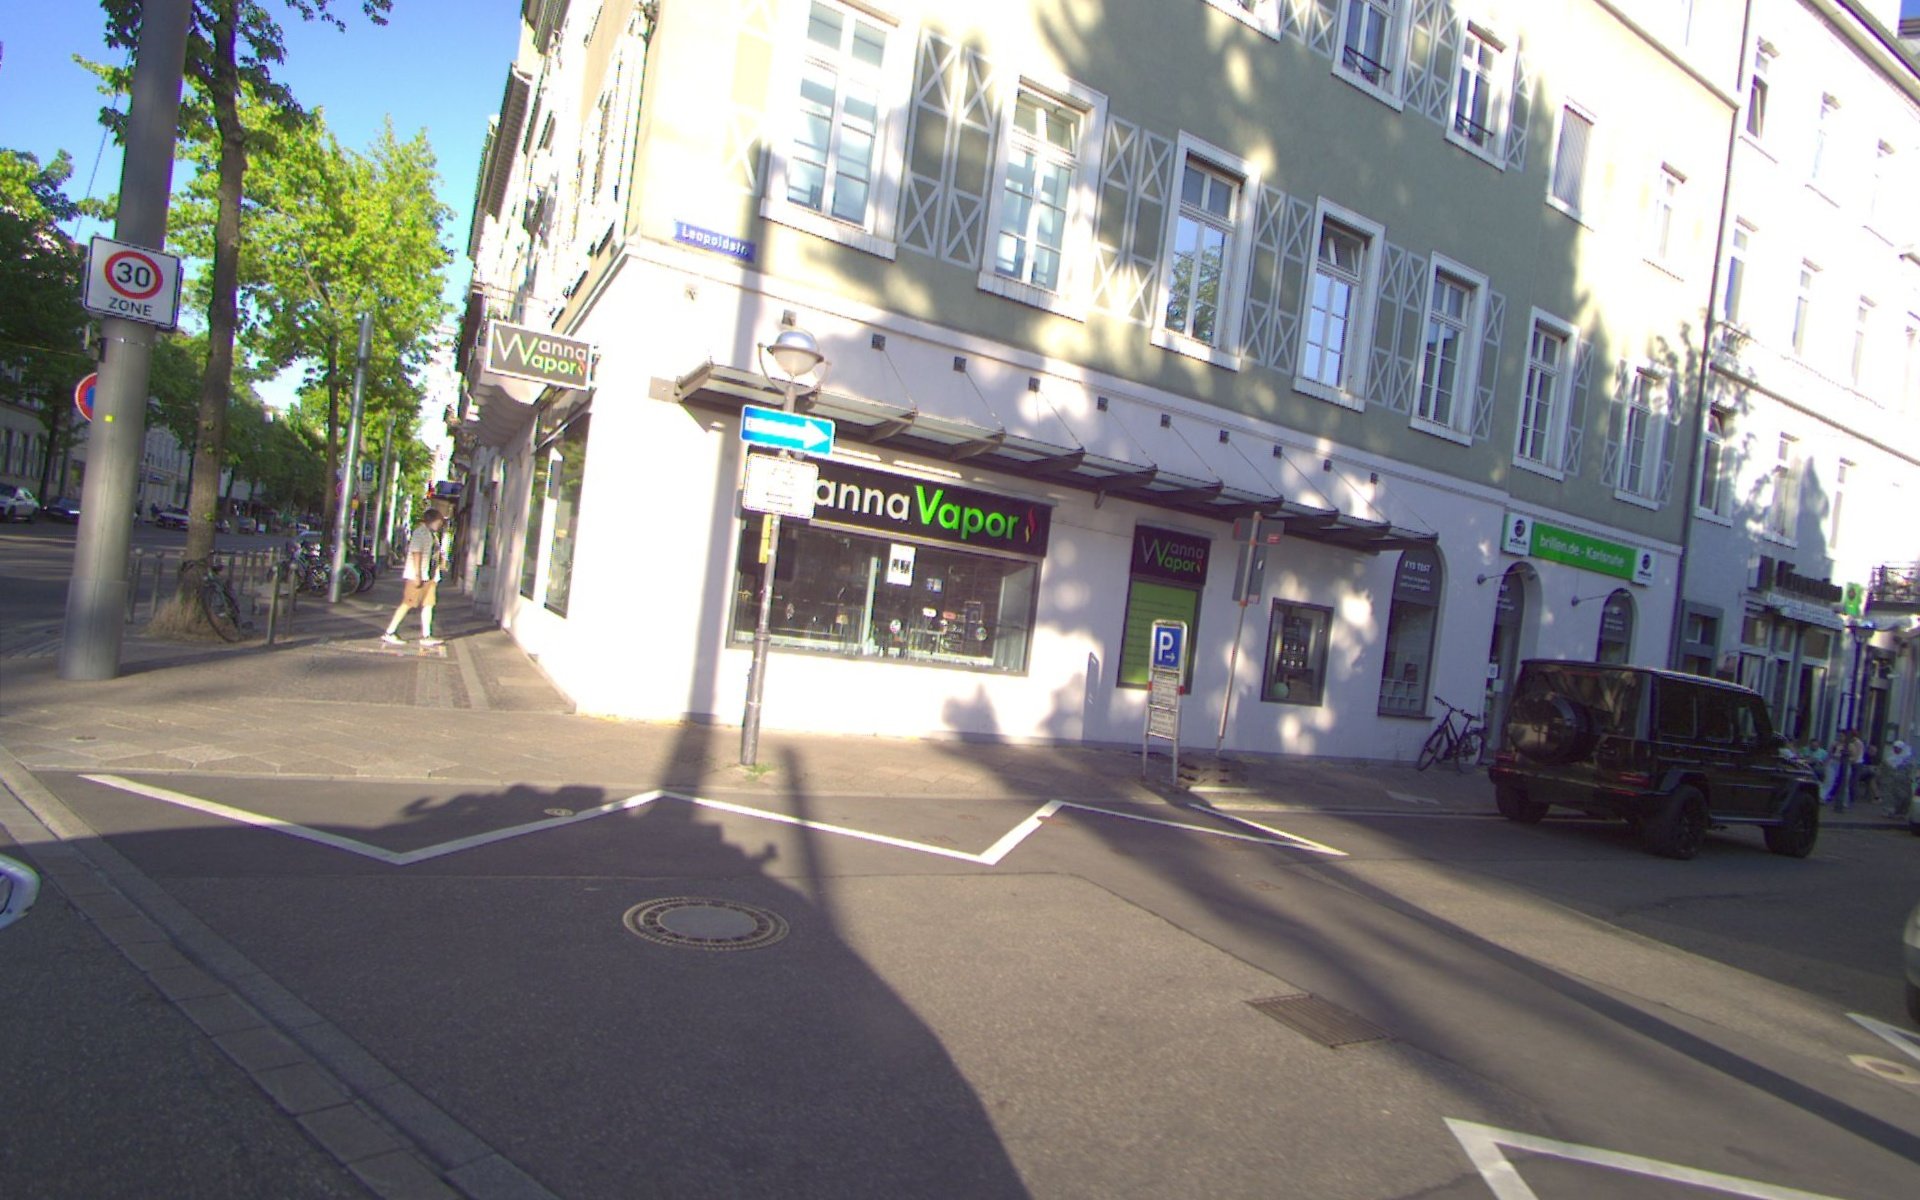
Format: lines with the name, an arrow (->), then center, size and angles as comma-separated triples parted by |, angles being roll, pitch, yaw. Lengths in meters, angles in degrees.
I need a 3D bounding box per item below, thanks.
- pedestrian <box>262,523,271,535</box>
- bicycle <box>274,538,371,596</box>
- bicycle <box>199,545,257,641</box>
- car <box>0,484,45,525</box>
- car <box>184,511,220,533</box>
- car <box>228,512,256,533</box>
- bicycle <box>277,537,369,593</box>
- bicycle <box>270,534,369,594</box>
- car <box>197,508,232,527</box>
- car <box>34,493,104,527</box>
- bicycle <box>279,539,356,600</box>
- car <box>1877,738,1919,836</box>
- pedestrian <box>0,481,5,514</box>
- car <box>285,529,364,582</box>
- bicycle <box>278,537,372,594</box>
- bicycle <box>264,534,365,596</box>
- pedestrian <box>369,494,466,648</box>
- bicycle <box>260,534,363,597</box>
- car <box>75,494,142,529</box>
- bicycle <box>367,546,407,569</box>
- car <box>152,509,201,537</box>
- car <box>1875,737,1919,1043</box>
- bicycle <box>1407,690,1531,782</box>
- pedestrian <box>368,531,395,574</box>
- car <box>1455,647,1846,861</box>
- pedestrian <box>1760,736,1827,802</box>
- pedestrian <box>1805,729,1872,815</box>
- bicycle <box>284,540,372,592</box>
pedestrian -> -91.102, -9.276, 132.129 | 0.561, 1.482, 0.649 | 7, 0, -9
bicycle -> -15.706, -0.811, 24.838 | 1.850, 1.168, 0.558 | 8, -1, -27
bicycle -> -9.112, -0.111, 12.557 | 0.352, 1.089, 1.685 | 7, -1, -32
car -> -44.030, -4.483, 45.962 | 1.948, 1.658, 4.778 | 11, -2, -28
car -> -66.015, -6.744, 87.703 | 1.675, 1.517, 4.205 | 8, -1, -27
car -> -76.200, -8.195, 106.788 | 1.536, 1.818, 3.153 | 7, 0, -20
bicycle -> -16.344, -0.881, 25.865 | 1.850, 1.168, 0.558 | 8, -1, -27
bicycle -> -15.408, -0.850, 24.239 | 1.850, 1.168, 0.558 | 8, -1, -27
car -> -69.962, -7.713, 94.418 | 1.978, 1.307, 3.971 | 8, -1, -29
car -> -49.354, -4.929, 55.817 | 1.948, 1.429, 4.807 | 8, -1, -31
bicycle -> -14.275, -0.678, 22.352 | 1.650, 1.168, 0.462 | 7, 0, 22
car -> 18.965, 3.610, 18.319 | 4.464, 1.636, 2.008 | 8, -1, -30
pedestrian -> -50.569, -5.420, 52.551 | 0.681, 1.741, 0.651 | 8, 0, -28
car -> -20.568, -1.424, 32.683 | 1.760, 1.458, 4.392 | 4, 0, -28
bicycle -> -15.996, -0.857, 25.374 | 1.850, 1.168, 0.558 | 8, -1, -27
bicycle -> -15.110, -0.811, 23.597 | 1.850, 1.168, 0.558 | 8, -1, -27
pedestrian -> -7.700, -0.406, 14.272 | 0.841, 2.038, 0.834 | 7, -1, -42
bicycle -> -14.871, -0.783, 23.112 | 1.850, 1.168, 0.345 | 8, -1, -27
car -> -52.924, -5.456, 62.645 | 1.931, 1.659, 4.876 | 8, -1, -27
bicycle -> -33.497, -2.491, 58.821 | 1.846, 1.087, 0.705 | 7, 0, -39
car -> -61.701, -6.043, 79.307 | 1.946, 1.712, 4.979 | 8, -1, -27
car -> 6.793, 1.725, 5.380 | 3.539, 1.532, 1.726 | 8, -1, -30
bicycle -> 8.103, 2.171, 15.982 | 1.966, 1.260, 0.682 | 7, 0, -30
pedestrian -> -23.659, -1.947, 41.160 | 0.796, 1.664, 0.750 | 6, 1, -29
car -> 8.343, 1.855, 12.081 | 4.464, 1.987, 2.008 | 8, -1, -30
pedestrian -> 17.958, 3.644, 21.679 | 1.016, 1.260, 0.682 | 7, 0, -29
pedestrian -> 17.731, 3.461, 20.299 | 0.727, 1.588, 0.682 | 7, 0, -29
bicycle -> -16.604, -0.879, 26.475 | 1.849, 1.169, 0.558 | 5, 1, -27
